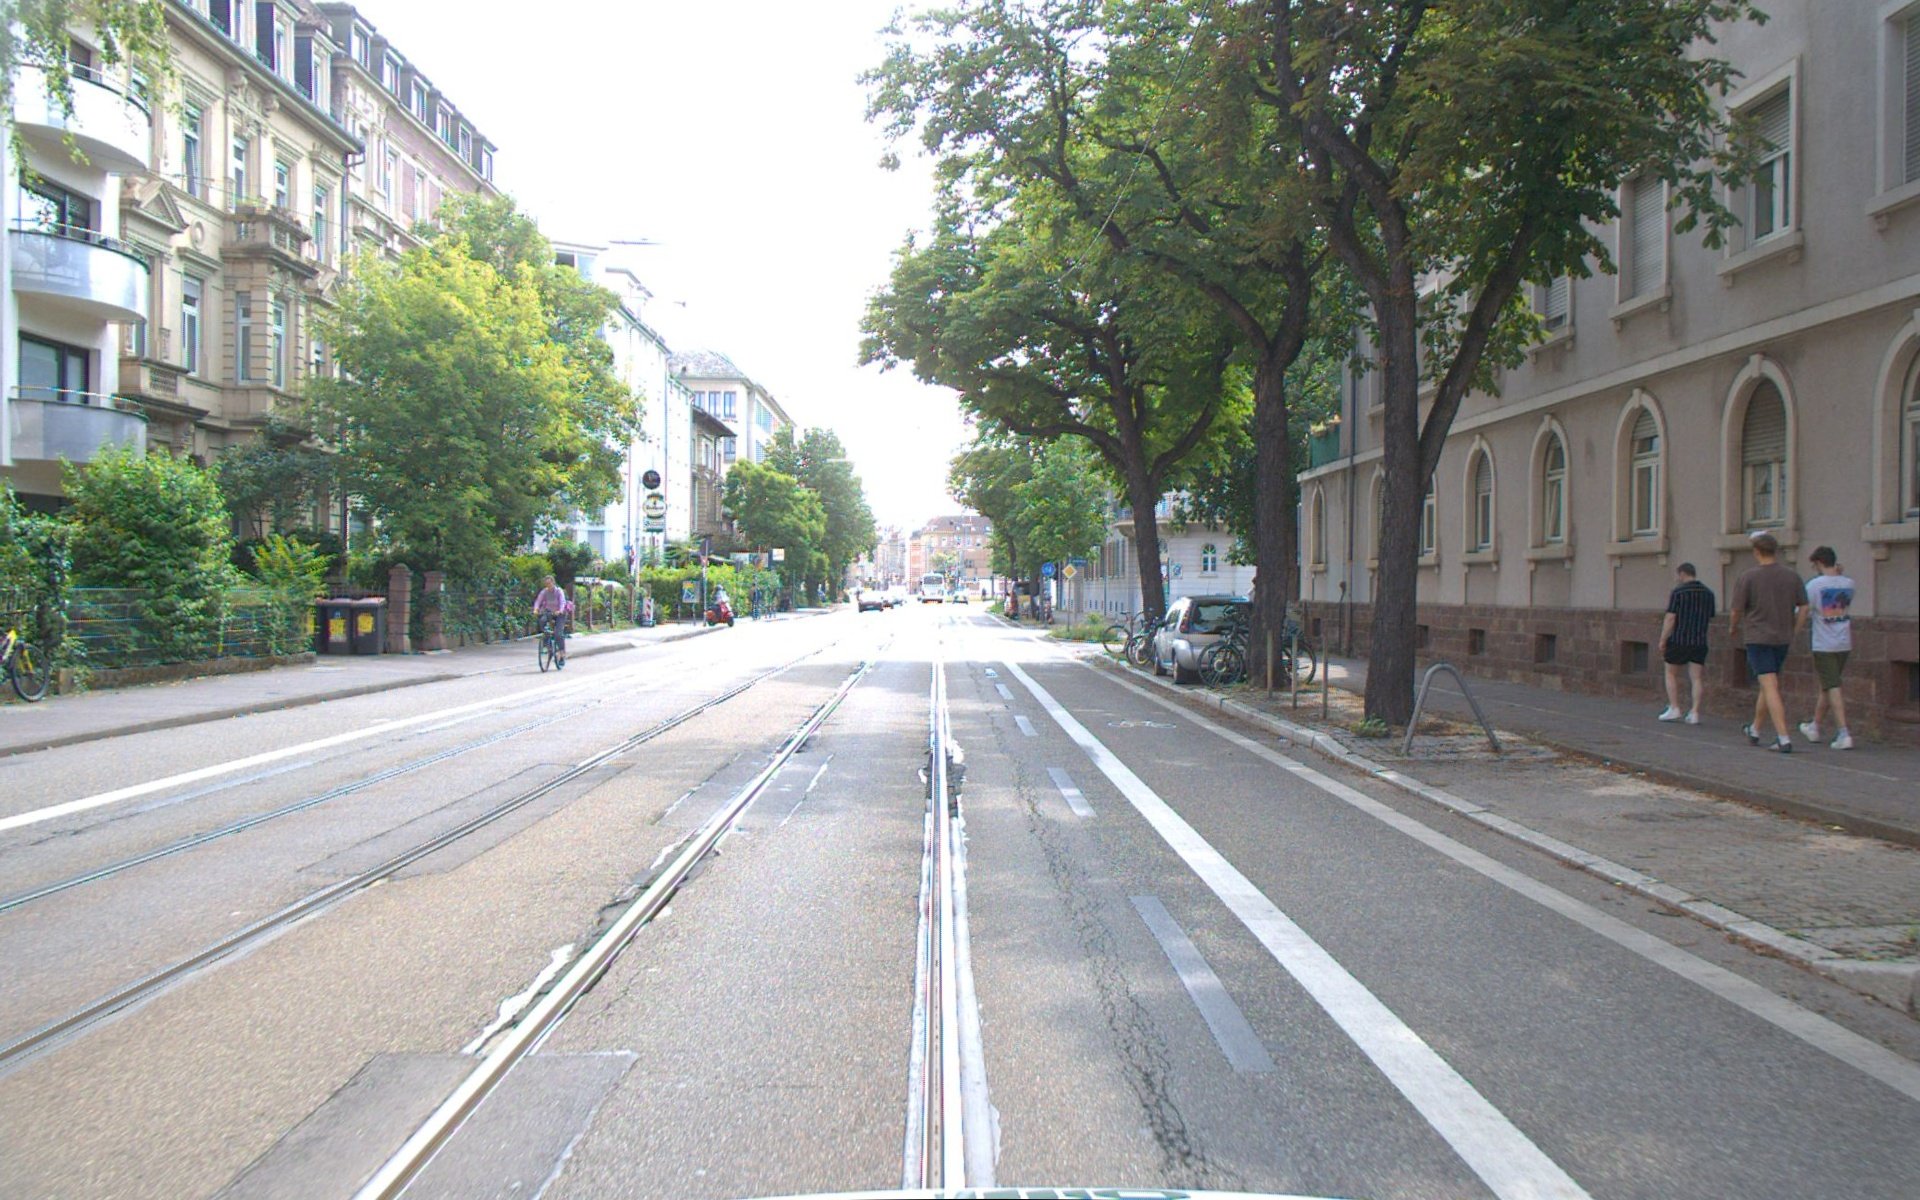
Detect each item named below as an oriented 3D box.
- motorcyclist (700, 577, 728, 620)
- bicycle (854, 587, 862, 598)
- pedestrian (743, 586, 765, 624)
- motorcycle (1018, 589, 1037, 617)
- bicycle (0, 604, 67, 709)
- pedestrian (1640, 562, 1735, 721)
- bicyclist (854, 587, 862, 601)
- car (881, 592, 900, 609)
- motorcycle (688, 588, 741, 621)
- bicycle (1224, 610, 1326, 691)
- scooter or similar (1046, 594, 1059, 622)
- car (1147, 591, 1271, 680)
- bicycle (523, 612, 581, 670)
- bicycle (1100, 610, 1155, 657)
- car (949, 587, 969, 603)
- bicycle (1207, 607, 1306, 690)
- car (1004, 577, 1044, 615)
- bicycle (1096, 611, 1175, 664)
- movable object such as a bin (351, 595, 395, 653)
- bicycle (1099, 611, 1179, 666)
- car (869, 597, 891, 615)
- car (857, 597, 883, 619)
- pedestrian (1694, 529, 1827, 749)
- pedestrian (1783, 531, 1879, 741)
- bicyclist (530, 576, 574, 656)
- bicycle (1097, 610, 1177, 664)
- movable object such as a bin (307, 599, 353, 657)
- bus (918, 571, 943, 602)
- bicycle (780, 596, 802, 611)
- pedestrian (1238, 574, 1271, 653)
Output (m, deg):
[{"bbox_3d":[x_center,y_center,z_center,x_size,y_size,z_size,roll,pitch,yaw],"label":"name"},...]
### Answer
[{"bbox_3d":[-10.271,-0.064,69.137,0.899,1.744,0.742,0,0,17],"label":"motorcyclist"},{"bbox_3d":[-10.957,-0.836,177.103,0.590,1.116,2.023,-5,1,2],"label":"bicycle"},{"bbox_3d":[-10.858,0.268,87.290,1.037,1.951,0.829,0,0,0],"label":"pedestrian"},{"bbox_3d":[3.349,0.156,82.077,0.840,1.344,2.445,1,0,0],"label":"motorcycle"},{"bbox_3d":[-10.893,0.630,18.913,0.403,1.157,1.819,1,0,-1],"label":"bicycle"},{"bbox_3d":[7.861,0.431,17.906,0.569,1.668,0.976,1,0,-1],"label":"pedestrian"},{"bbox_3d":[-10.940,-0.643,177.091,0.587,1.518,0.882,-5,0,2],"label":"bicyclist"},{"bbox_3d":[-6.482,0.033,154.158,1.692,1.567,4.275,-1,0,-2],"label":"car"},{"bbox_3d":[-10.264,0.188,69.137,2.038,1.384,0.742,0,0,18],"label":"motorcycle"},{"bbox_3d":[4.713,0.750,24.808,1.456,1.173,0.518,0,0,6],"label":"bicycle"},{"bbox_3d":[4.234,0.351,75.920,0.521,1.273,1.720,0,0,0],"label":"scooter or similar"},{"bbox_3d":[4.374,0.588,29.549,1.553,1.470,3.897,0,0,-1],"label":"car"},{"bbox_3d":[-7.526,0.736,30.584,0.557,1.007,1.918,1,0,1],"label":"bicycle"},{"bbox_3d":[3.960,0.799,39.163,1.242,1.085,0.478,1,0,-2],"label":"bicycle"},{"bbox_3d":[-0.120,-0.562,181.651,2.087,1.713,4.101,2,1,-2],"label":"car"},{"bbox_3d":[4.537,0.731,25.378,1.456,1.242,0.518,0,-1,6],"label":"bicycle"},{"bbox_3d":[3.371,-0.234,88.156,1.857,1.975,4.949,0,0,-1],"label":"car"},{"bbox_3d":[3.674,0.787,34.641,1.612,1.089,0.348,0,0,3],"label":"bicycle"},{"bbox_3d":[-11.650,0.471,32.843,0.654,1.127,0.733,0,0,-4],"label":"movable object such as a bin"},{"bbox_3d":[3.663,0.787,33.861,1.612,1.089,0.348,0,0,2],"label":"bicycle"},{"bbox_3d":[-6.401,0.471,132.740,1.595,1.431,4.128,1,0,-1],"label":"car"},{"bbox_3d":[-6.352,0.545,116.936,1.561,1.465,3.936,-1,0,1],"label":"car"},{"bbox_3d":[7.261,0.339,15.042,0.738,1.922,0.886,-1,0,-1],"label":"pedestrian"},{"bbox_3d":[7.982,0.321,15.180,0.494,1.885,0.687,1,0,-1],"label":"pedestrian"},{"bbox_3d":[-7.524,0.296,30.552,0.553,1.450,0.942,1,0,1],"label":"bicyclist"},{"bbox_3d":[3.657,0.769,34.220,1.612,1.089,0.348,0,0,3],"label":"bicycle"},{"bbox_3d":[-12.520,0.556,32.881,0.654,1.127,0.733,0,0,-4],"label":"movable object such as a bin"},{"bbox_3d":[-3.533,-1.528,195.412,2.859,3.386,12.202,1,0,-1],"label":"bus"},{"bbox_3d":[-11.474,0.245,112.339,1.119,0.924,2.988,3,0,-1],"label":"bicycle"},{"bbox_3d":[7.128,0.317,40.079,0.605,1.866,1.031,1,0,1],"label":"pedestrian"}]
